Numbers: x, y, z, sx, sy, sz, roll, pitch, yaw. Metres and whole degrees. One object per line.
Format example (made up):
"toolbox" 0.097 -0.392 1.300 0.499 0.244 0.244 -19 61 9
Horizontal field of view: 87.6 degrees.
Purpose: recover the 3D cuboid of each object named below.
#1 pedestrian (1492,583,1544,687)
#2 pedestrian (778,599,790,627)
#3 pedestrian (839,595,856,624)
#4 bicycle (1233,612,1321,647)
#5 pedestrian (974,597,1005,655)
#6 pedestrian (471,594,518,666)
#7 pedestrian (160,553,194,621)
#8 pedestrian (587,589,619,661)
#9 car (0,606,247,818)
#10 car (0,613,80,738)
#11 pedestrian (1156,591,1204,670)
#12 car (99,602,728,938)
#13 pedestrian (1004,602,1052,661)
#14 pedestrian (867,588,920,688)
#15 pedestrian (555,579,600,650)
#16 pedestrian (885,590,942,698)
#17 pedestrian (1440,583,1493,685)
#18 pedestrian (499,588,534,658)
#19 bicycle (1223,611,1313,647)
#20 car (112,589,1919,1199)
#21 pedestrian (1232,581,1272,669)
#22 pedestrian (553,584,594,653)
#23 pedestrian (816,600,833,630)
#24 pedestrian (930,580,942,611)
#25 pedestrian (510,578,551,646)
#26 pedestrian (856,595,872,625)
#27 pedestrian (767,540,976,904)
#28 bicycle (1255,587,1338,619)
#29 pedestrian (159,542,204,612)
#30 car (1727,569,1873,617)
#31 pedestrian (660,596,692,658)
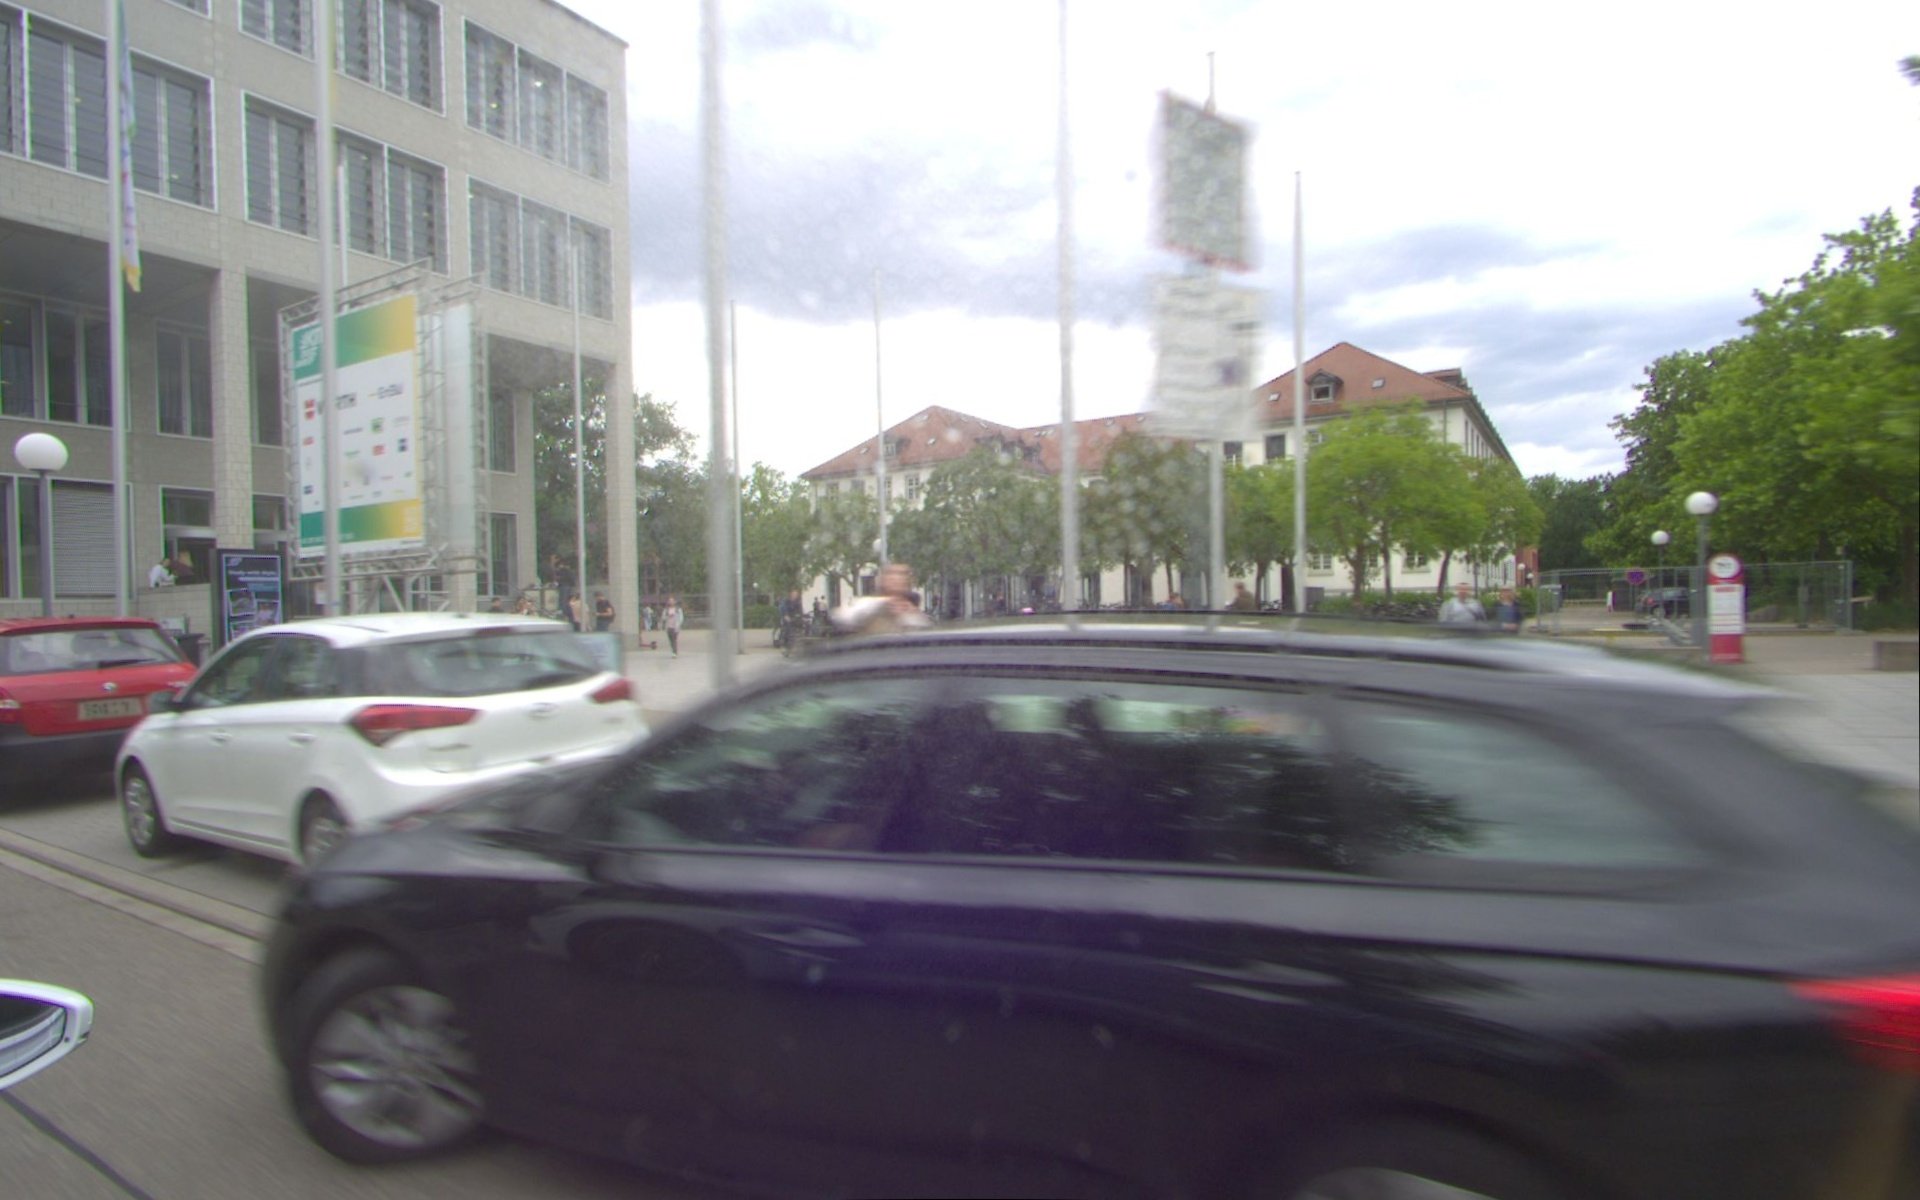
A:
"pedestrian" 9.501 0.589 17.059 0.650 1.738 0.581 -2 0 39
"pedestrian" -10.702 0.790 60.825 0.650 1.663 0.665 -1 1 -13
"pedestrian" -6.485 0.543 57.658 0.684 1.663 0.659 -1 1 31
"bicycle" 11.932 1.075 37.752 3.065 1.185 0.743 2 1 35
"pedestrian" 0.739 0.651 25.254 0.754 1.432 0.673 -1 0 1
"pedestrian" -11.117 0.704 23.918 0.696 1.691 0.753 -1 0 34
"pedestrian" -19.969 -0.326 25.534 0.624 1.681 0.799 1 1 -41
"pedestrian" -9.526 0.660 26.742 0.592 1.890 0.778 -2 1 -8
"car" -8.499 0.858 9.186 4.213 1.493 1.707 -1 3 33
"car" -13.007 0.932 12.517 4.311 1.430 1.692 -1 1 30
"pedestrian" 4.988 0.678 22.658 0.952 1.727 0.850 -1 2 19
"car" -3.486 0.786 6.249 3.804 1.472 1.856 -1 0 33
"pedestrian" 1.710 0.771 24.985 0.952 1.439 0.850 -1 1 22
"pedestrian" -1.176 0.657 17.780 0.891 1.736 0.694 -1 1 -1
"pedestrian" -9.842 0.374 25.805 0.724 1.808 0.763 -1 0 19
"pedestrian" -0.772 0.718 16.508 0.769 1.735 0.646 0 0 -22
"pedestrian" 8.853 0.586 17.501 0.670 1.738 0.668 -1 1 39
"pedestrian" -11.959 0.616 27.015 0.612 1.865 0.589 -1 0 34
"bicycle" 11.286 1.059 36.753 3.065 1.185 0.743 2 1 35
"car" -0.098 0.750 3.025 4.402 1.421 1.860 -1 3 22
"pedestrian" 6.288 0.539 21.558 0.502 1.858 0.672 -2 1 -17
"pedestrian" -10.441 0.495 27.067 0.724 1.809 0.720 2 1 19
"pedestrian" -7.651 0.858 56.574 0.656 1.663 0.659 -1 1 30
"pedestrian" -1.349 -0.246 55.890 0.649 1.662 0.666 0 -1 -2
"pedestrian" -11.282 0.317 26.325 0.595 1.738 0.774 -1 0 34
"pedestrian" -5.485 0.573 57.121 0.656 1.663 0.659 -1 1 31
"pedestrian" -0.492 0.614 5.547 0.813 1.811 0.786 -1 0 45
"bicycle" 13.457 0.106 40.121 3.065 1.185 0.743 2 1 35
"pedestrian" -19.323 -0.558 24.872 0.796 1.681 0.627 1 1 -32
"car" 33.638 -0.266 40.212 3.992 1.776 1.997 -1 0 16
"pedestrian" -7.901 0.738 27.810 0.725 1.663 0.928 1 1 -22
